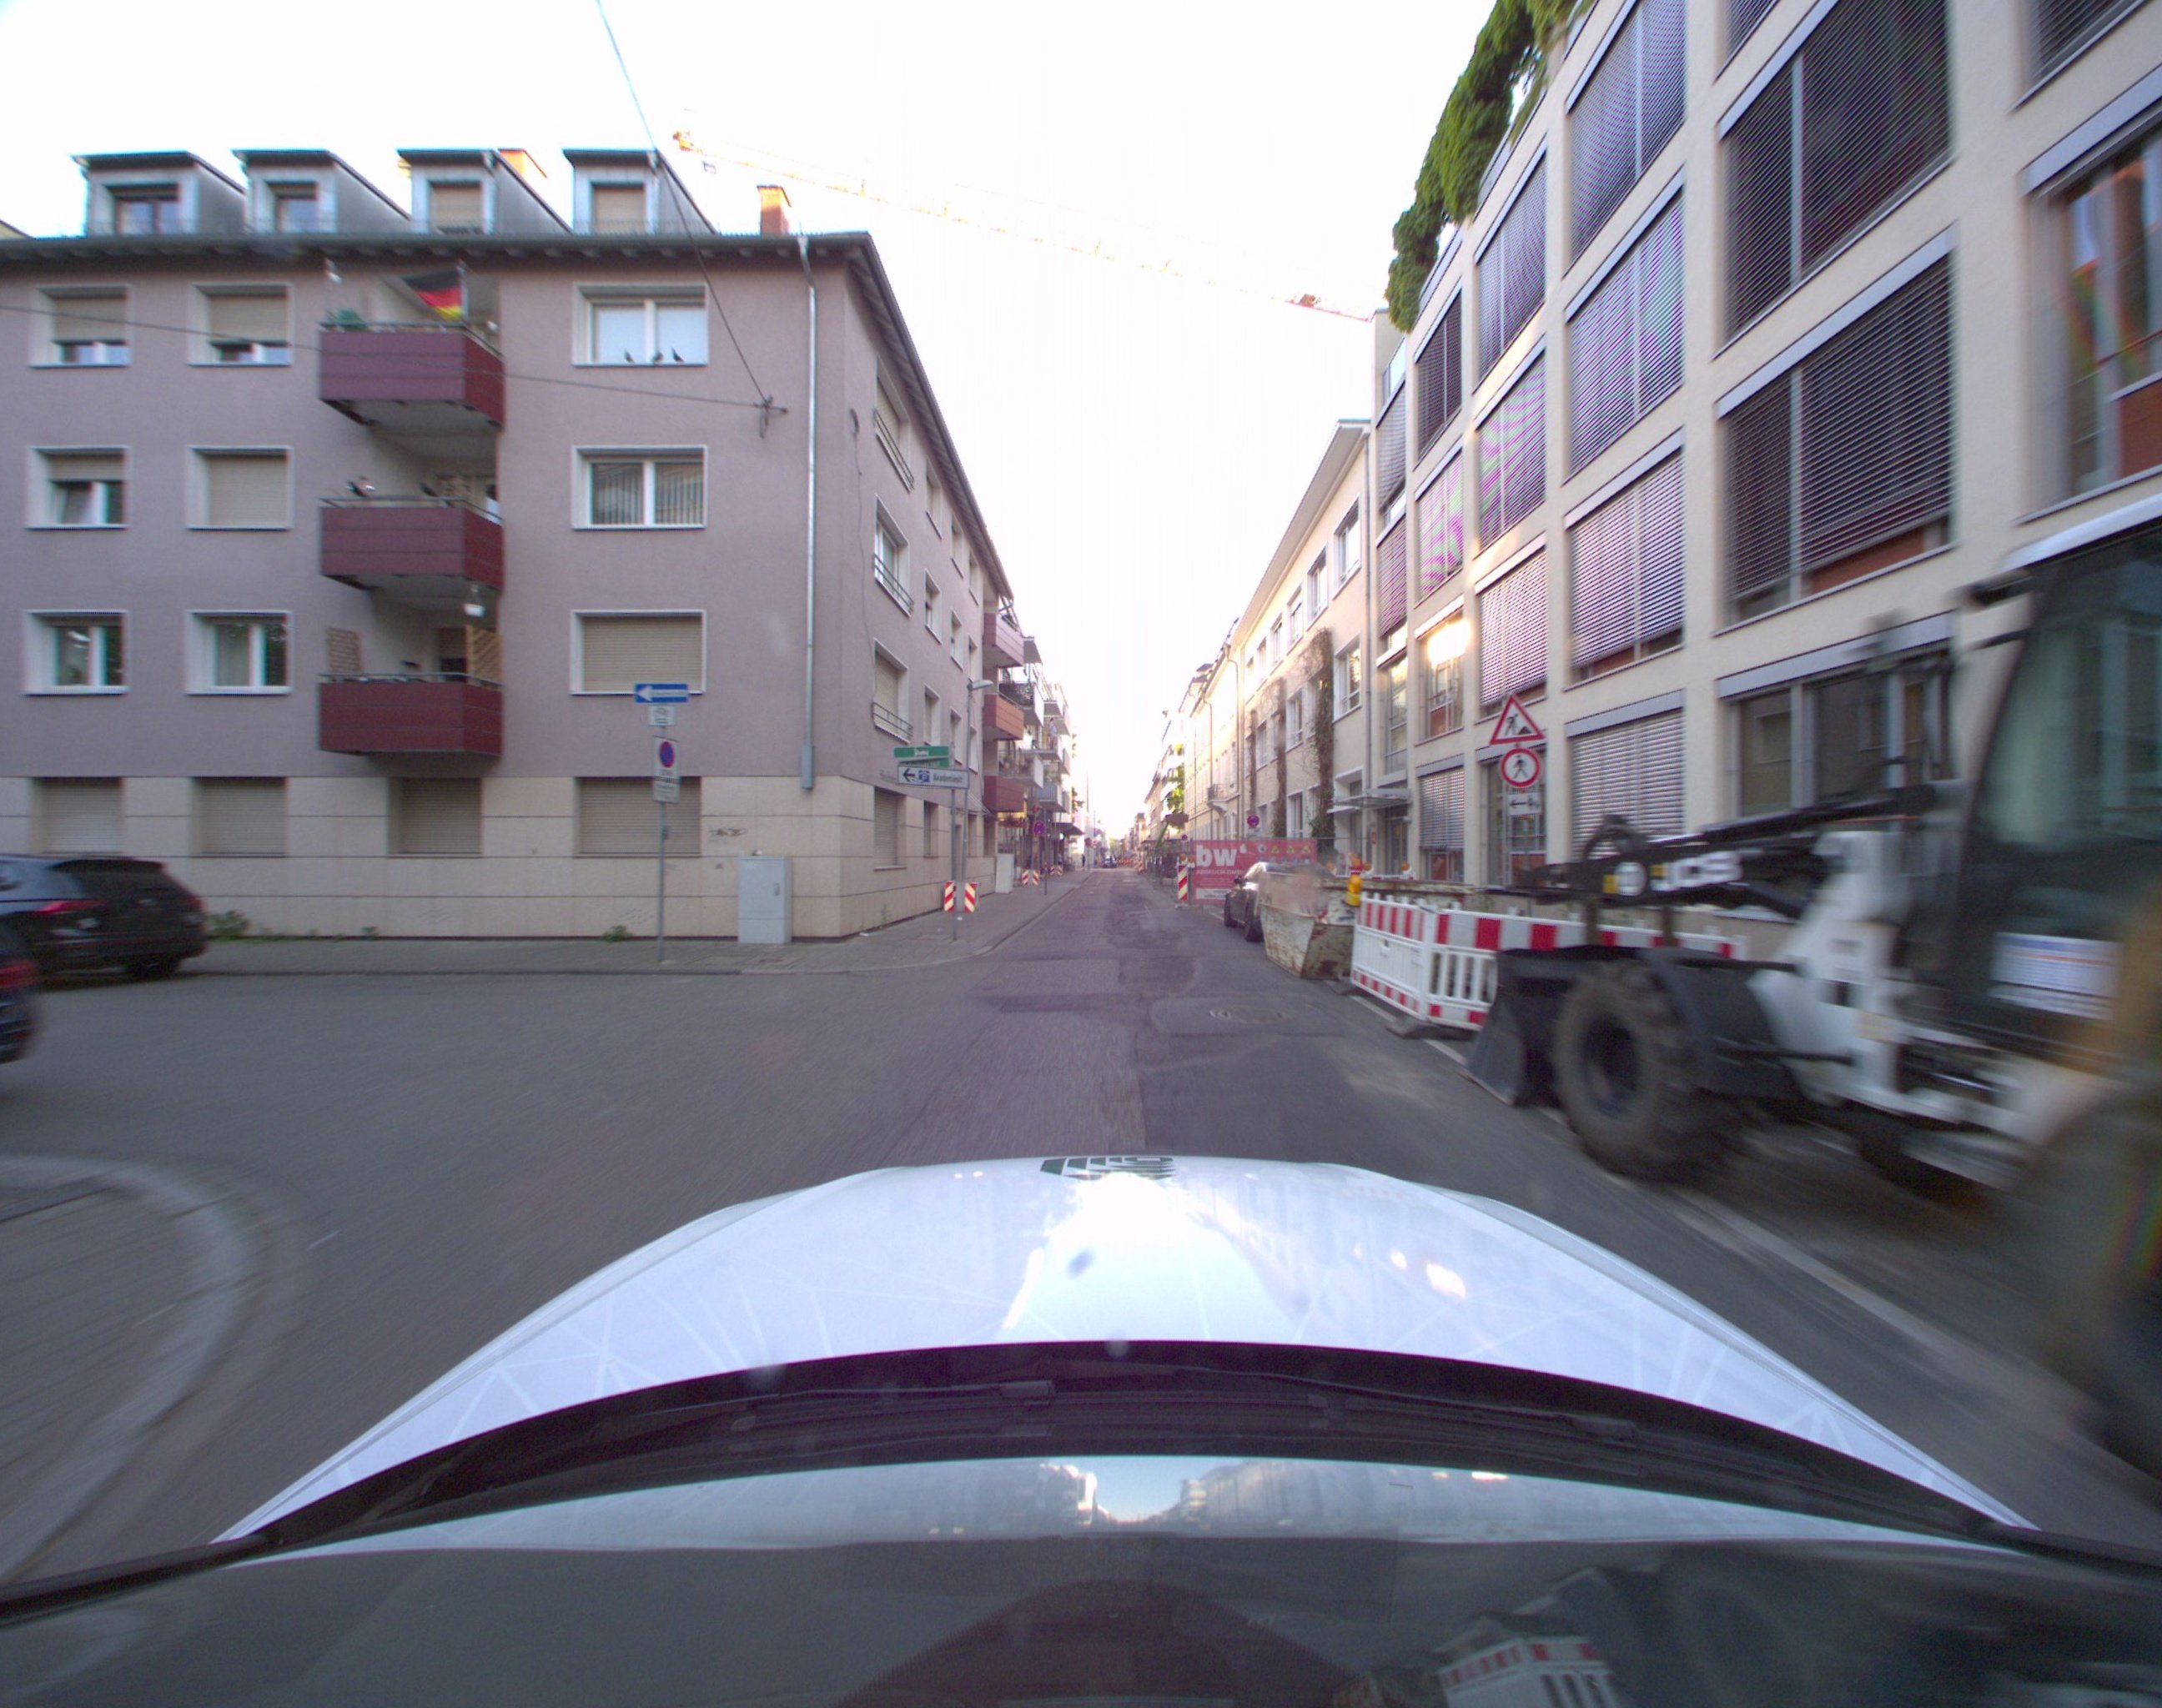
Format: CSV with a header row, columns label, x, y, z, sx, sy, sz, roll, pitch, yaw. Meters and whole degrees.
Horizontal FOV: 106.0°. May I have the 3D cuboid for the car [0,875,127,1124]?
label,x,y,z,sx,sy,sz,roll,pitch,yaw
car,-8.659,0.879,4.635,4.356,1.482,1.727,0,-1,0

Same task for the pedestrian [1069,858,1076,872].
label,x,y,z,sx,sy,sz,roll,pitch,yaw
pedestrian,-0.798,0.978,75.016,0.570,1.275,0.714,2,0,2

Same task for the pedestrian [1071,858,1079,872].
label,x,y,z,sx,sy,sz,roll,pitch,yaw
pedestrian,-0.602,1.009,77.081,0.699,1.275,0.714,2,0,2

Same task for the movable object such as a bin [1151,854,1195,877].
label,x,y,z,sx,sy,sz,roll,pitch,yaw
movable object such as a bin,6.928,0.871,62.552,2.726,1.638,7.555,1,0,1

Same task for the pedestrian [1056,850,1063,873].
label,x,y,z,sx,sy,sz,roll,pitch,yaw
pedestrian,-1.712,0.606,64.285,0.529,1.834,0.562,0,0,-4

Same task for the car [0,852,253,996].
label,x,y,z,sx,sy,sz,roll,pitch,yaw
car,-13.345,0.844,10.238,3.947,1.635,1.821,0,-3,1

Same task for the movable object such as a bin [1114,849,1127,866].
label,x,y,z,sx,sy,sz,roll,pitch,yaw
movable object such as a bin,6.560,0.594,136.315,2.148,2.664,4.575,0,0,2

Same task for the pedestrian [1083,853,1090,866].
label,x,y,z,sx,sy,sz,roll,pitch,yaw
pedestrian,0.526,0.507,81.379,0.708,1.275,0.705,0,0,2

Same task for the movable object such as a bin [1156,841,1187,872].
label,x,y,z,sx,sy,sz,roll,pitch,yaw
movable object such as a bin,8.504,0.232,77.122,2.594,2.839,4.453,-1,0,3

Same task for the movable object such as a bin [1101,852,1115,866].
label,x,y,z,sx,sy,sz,roll,pitch,yaw
movable object such as a bin,4.162,0.792,126.238,1.985,2.013,4.003,-1,0,3

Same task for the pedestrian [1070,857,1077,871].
label,x,y,z,sx,sy,sz,roll,pitch,yaw
pedestrian,-0.673,0.939,76.179,0.570,1.275,0.714,2,0,2

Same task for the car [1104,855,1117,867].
label,x,y,z,sx,sy,sz,roll,pitch,yaw
car,3.960,0.979,111.070,1.624,1.550,3.141,-1,0,-1

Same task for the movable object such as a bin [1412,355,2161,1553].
label,x,y,z,sx,sy,sz,roll,pitch,yaw
movable object such as a bin,3.466,0.216,3.415,2.008,2.623,5.755,2,1,3

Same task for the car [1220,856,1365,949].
label,x,y,z,sx,sy,sz,roll,pitch,yaw
car,3.879,0.810,15.708,1.780,1.471,4.448,2,0,2
